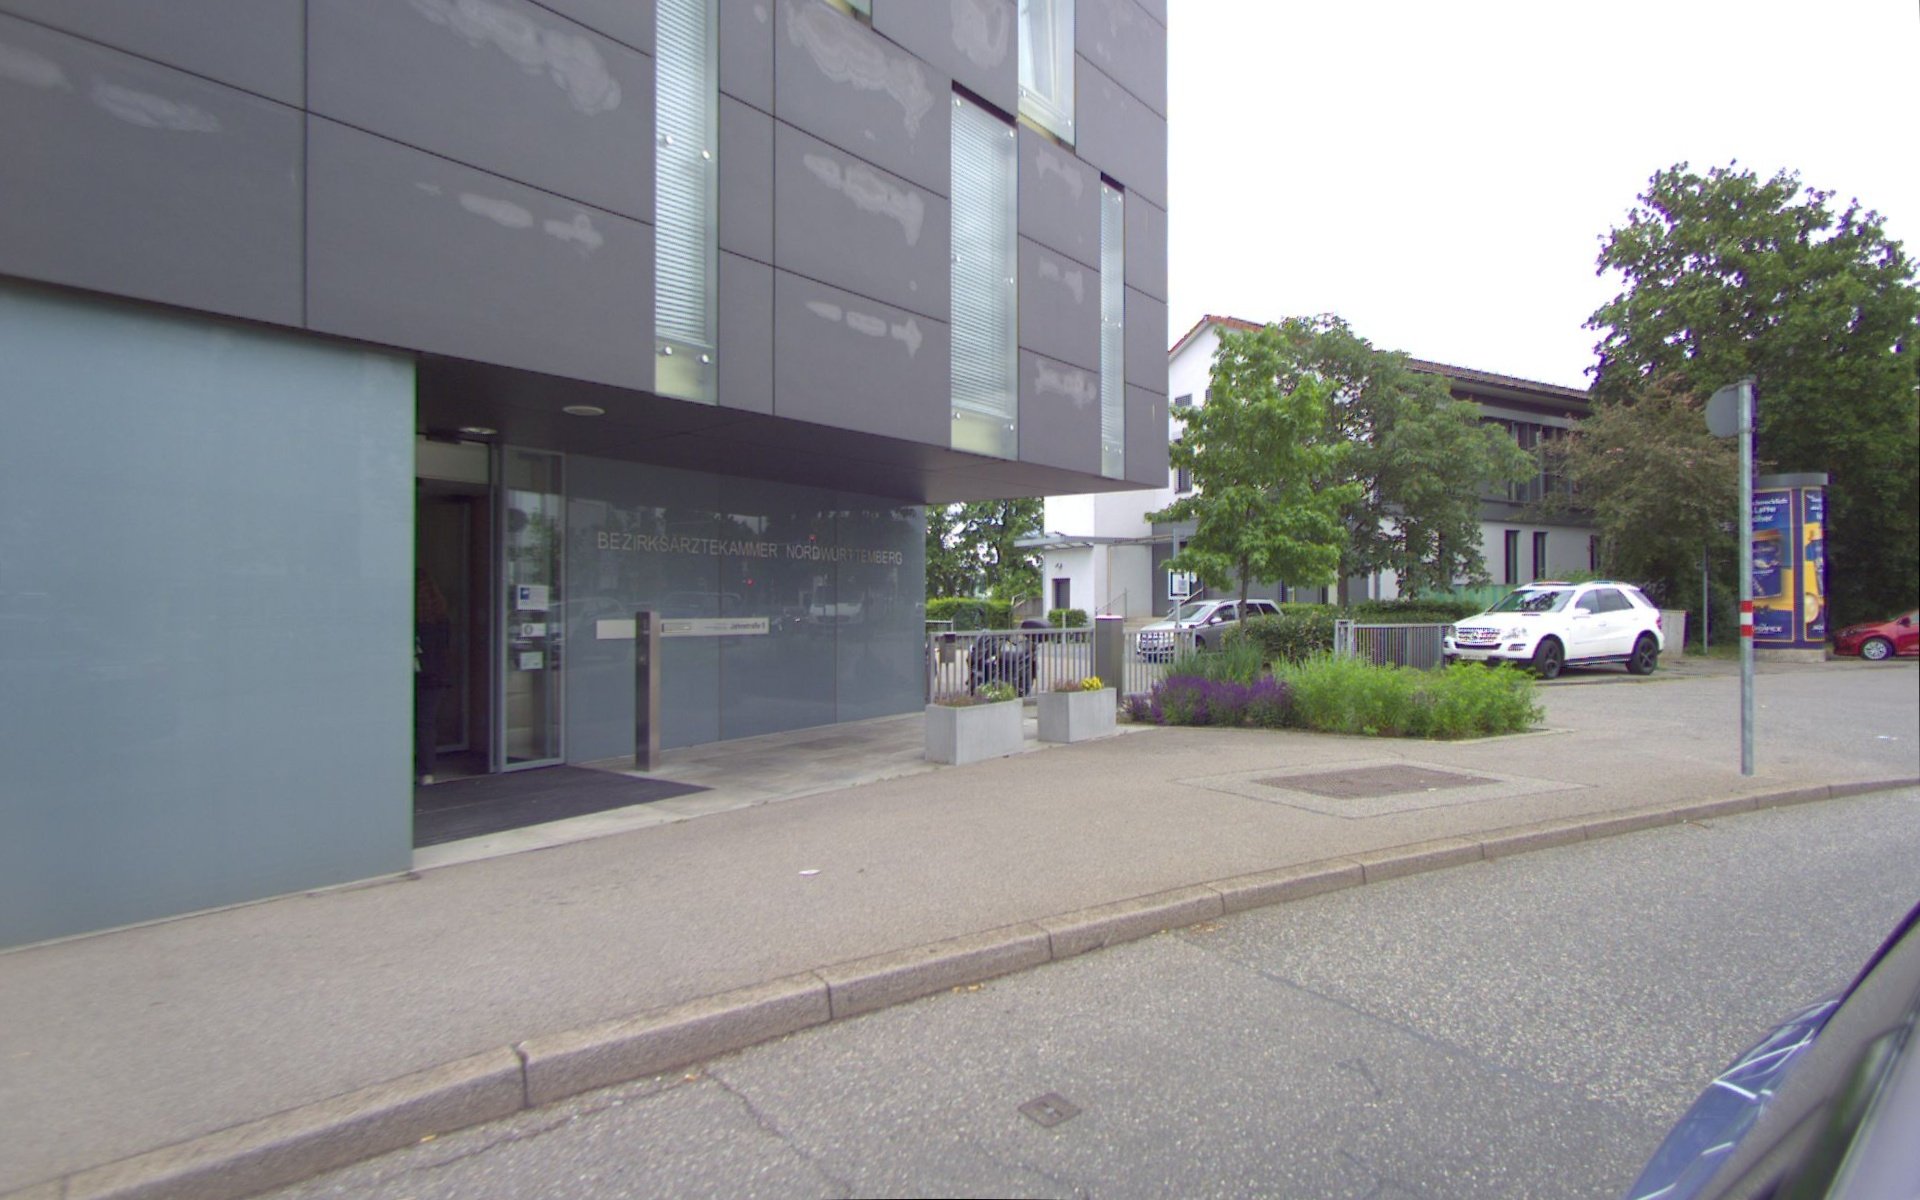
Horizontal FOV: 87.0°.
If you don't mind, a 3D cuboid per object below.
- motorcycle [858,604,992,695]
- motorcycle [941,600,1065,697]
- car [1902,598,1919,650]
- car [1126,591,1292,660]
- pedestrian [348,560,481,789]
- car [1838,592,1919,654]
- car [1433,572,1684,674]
[{"bbox_3d":[-0.548,0.780,16.949,2.422,1.411,0.668,0,0,-43],"label":"motorcycle"},{"bbox_3d":[0.703,0.722,15.767,2.089,1.411,0.668,1,-1,-43],"label":"motorcycle"},{"bbox_3d":[28.814,0.596,27.834,3.971,1.428,1.506,-3,-1,34],"label":"car"},{"bbox_3d":[6.312,0.591,25.568,4.135,1.502,1.622,-2,1,-32],"label":"car"},{"bbox_3d":[-4.390,0.555,8.135,0.862,1.716,0.703,-1,0,42],"label":"pedestrian"},{"bbox_3d":[24.454,0.536,25.162,3.880,1.502,1.658,-3,-2,41],"label":"car"},{"bbox_3d":[11.540,0.382,19.475,4.624,1.780,1.861,-1,0,-25],"label":"car"}]
